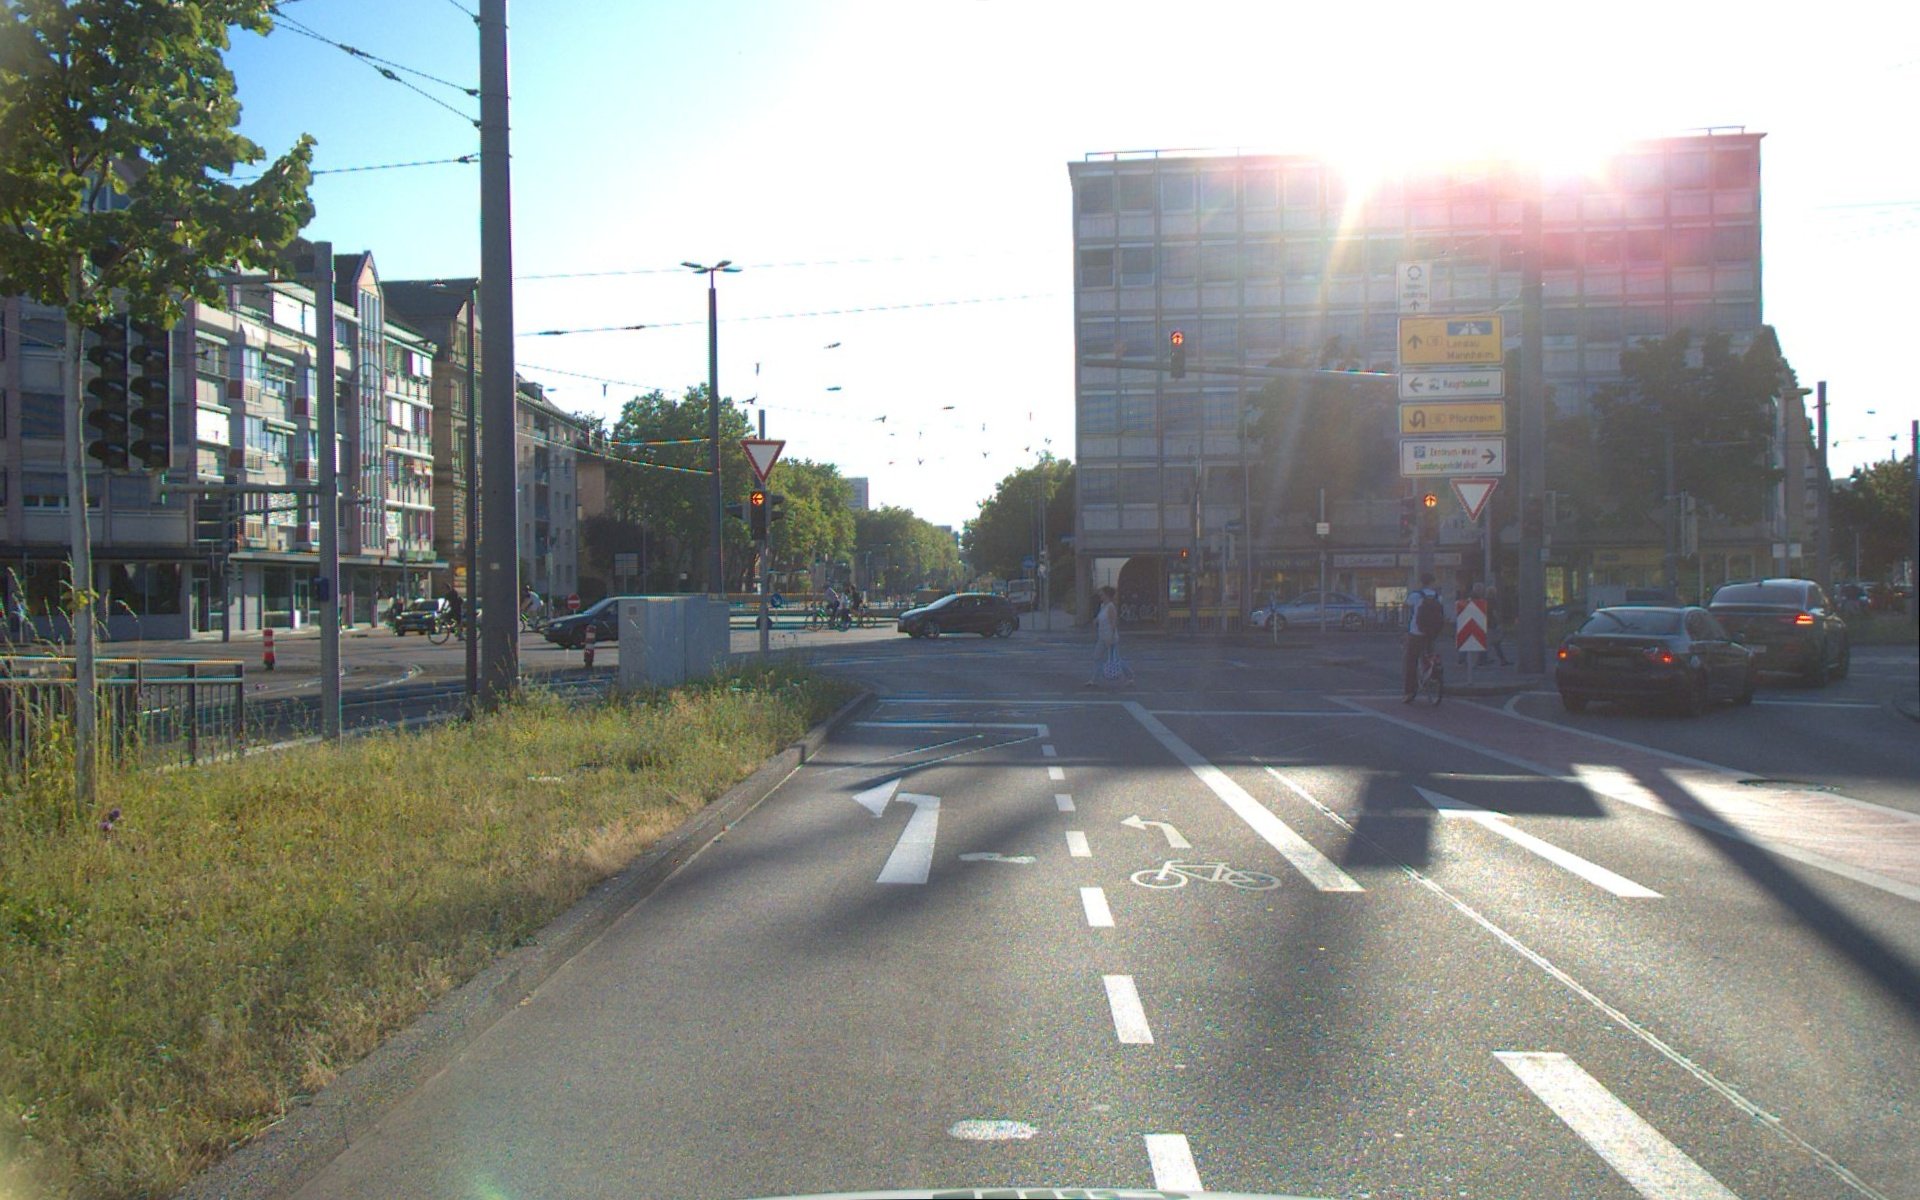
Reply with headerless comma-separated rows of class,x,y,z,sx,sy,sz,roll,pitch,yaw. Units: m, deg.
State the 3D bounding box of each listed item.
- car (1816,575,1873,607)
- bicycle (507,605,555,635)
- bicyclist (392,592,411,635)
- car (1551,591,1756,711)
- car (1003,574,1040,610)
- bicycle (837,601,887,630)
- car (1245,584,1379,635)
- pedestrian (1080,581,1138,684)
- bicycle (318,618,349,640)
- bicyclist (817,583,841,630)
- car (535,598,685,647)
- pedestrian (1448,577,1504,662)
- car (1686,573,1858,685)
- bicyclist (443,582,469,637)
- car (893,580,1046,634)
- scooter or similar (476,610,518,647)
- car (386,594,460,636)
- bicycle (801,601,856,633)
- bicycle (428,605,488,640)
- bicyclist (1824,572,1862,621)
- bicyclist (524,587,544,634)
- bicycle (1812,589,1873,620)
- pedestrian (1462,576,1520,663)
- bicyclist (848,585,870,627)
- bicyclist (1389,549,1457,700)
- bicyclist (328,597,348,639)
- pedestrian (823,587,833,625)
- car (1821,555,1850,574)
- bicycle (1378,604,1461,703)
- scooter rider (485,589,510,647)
car,41.304,-0.453,77.310,1.953,1.422,4.000,-1,0,22
bicycle,-16.207,0.741,62.542,1.700,1.078,0.538,-1,0,-9
bicyclist,-27.383,0.660,81.132,0.590,2.049,0.779,-1,0,5
car,9.455,0.616,22.374,1.714,1.451,3.985,0,0,36
car,4.458,-0.588,120.647,2.435,2.434,5.935,-2,0,1
bicycle,-4.197,0.663,71.007,2.130,1.157,0.659,-1,0,-3
car,12.040,0.302,56.781,4.241,1.624,2.001,-1,0,3
pedestrian,2.395,0.521,26.705,0.860,1.625,0.655,-1,0,1
bicycle,-28.053,1.291,74.088,0.586,0.931,1.837,-1,0,3
bicyclist,-5.040,0.243,63.634,0.880,1.783,0.654,-1,0,-3
car,-10.312,0.656,48.876,3.958,1.310,1.823,-1,0,-38
pedestrian,10.085,0.367,32.357,0.860,1.625,0.655,-1,0,-1
car,13.880,0.414,28.164,1.960,1.723,3.985,2,2,36
bicyclist,-16.278,0.302,53.427,0.658,1.742,0.531,-1,0,-37
car,0.296,0.221,54.412,4.686,1.624,1.992,-1,0,-16
scooter or similar,-14.309,0.881,51.122,1.150,1.091,0.529,-1,0,-9
car,-25.349,0.679,78.172,1.952,1.892,4.002,-1,0,3
bicycle,-5.049,0.642,63.635,2.052,1.157,0.658,-1,0,-3
bicycle,-16.213,0.716,53.467,1.762,1.091,0.528,-1,0,-37
bicyclist,32.721,-0.126,61.274,1.019,1.769,0.677,-1,0,-3
bicyclist,-16.120,0.399,62.550,0.651,1.742,0.537,-1,0,-9
bicycle,32.691,0.181,61.272,1.933,1.117,0.677,-1,0,-3
pedestrian,10.150,0.366,31.647,0.860,1.625,0.655,-1,0,-1
bicyclist,-4.322,0.244,70.987,0.880,1.783,0.650,-1,0,-3
bicyclist,6.420,0.316,22.993,0.630,2.048,1.067,1,2,2
bicyclist,-28.035,0.802,74.579,0.580,1.894,0.642,-1,0,3
pedestrian,-5.415,0.230,67.936,0.359,1.534,0.542,-1,0,-6
car,68.424,-2.782,129.320,1.955,1.422,3.995,-1,0,28
bicycle,6.407,0.720,23.145,0.631,1.244,2.049,1,2,2
scooter rider,-14.299,0.552,51.123,0.651,1.742,0.525,-1,0,-9
